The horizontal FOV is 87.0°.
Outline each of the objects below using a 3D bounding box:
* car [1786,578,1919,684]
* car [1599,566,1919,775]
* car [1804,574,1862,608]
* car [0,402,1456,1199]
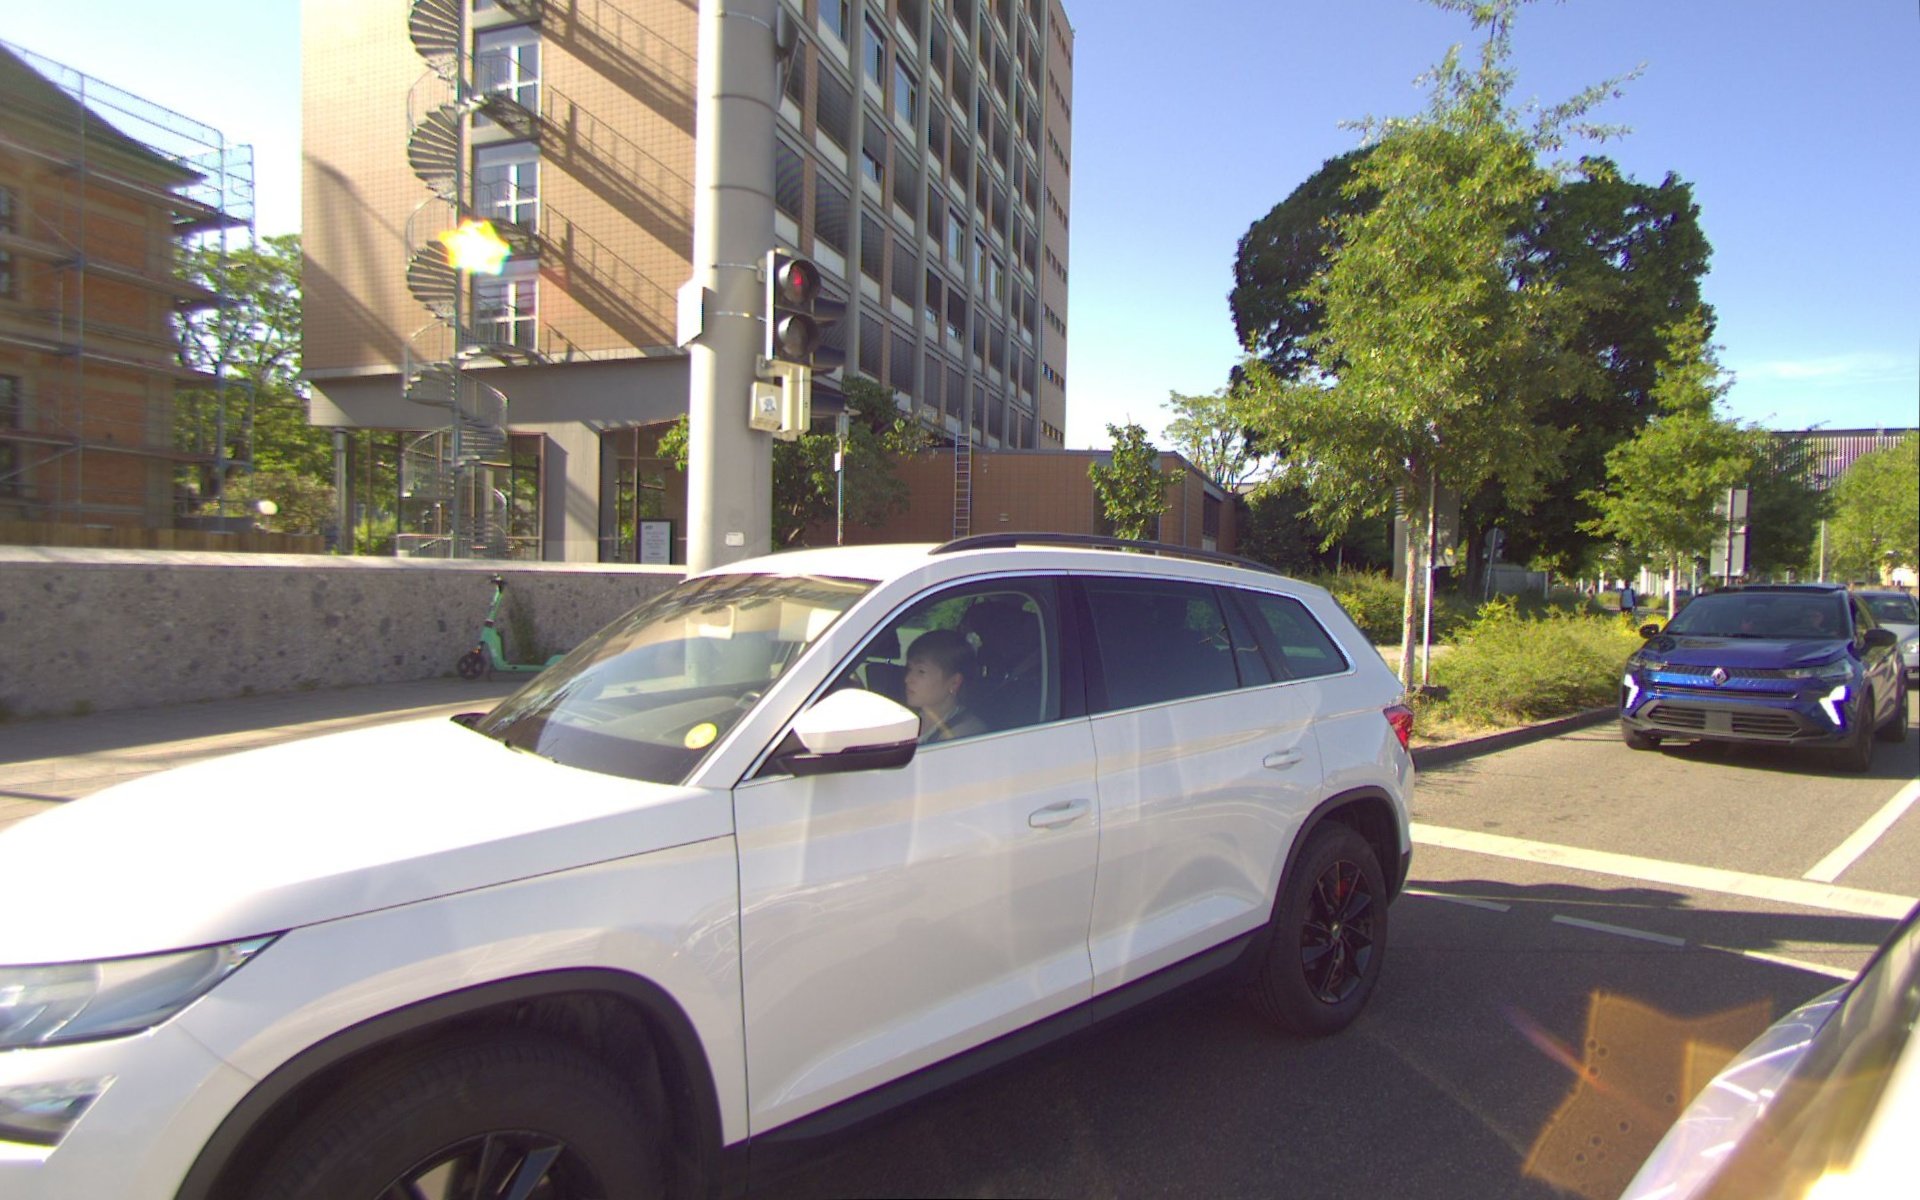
[{"bbox_3d":[15.990,0.464,17.578,3.942,1.650,1.884,-1,0,-41],"label":"car"},{"bbox_3d":[8.061,0.541,10.011,3.942,1.650,1.884,-1,0,-41],"label":"car"},{"bbox_3d":[39.922,-0.411,46.246,1.914,1.477,4.598,0,0,42],"label":"car"},{"bbox_3d":[-0.344,0.576,3.224,4.318,1.666,1.867,0,0,-40],"label":"car"}]
